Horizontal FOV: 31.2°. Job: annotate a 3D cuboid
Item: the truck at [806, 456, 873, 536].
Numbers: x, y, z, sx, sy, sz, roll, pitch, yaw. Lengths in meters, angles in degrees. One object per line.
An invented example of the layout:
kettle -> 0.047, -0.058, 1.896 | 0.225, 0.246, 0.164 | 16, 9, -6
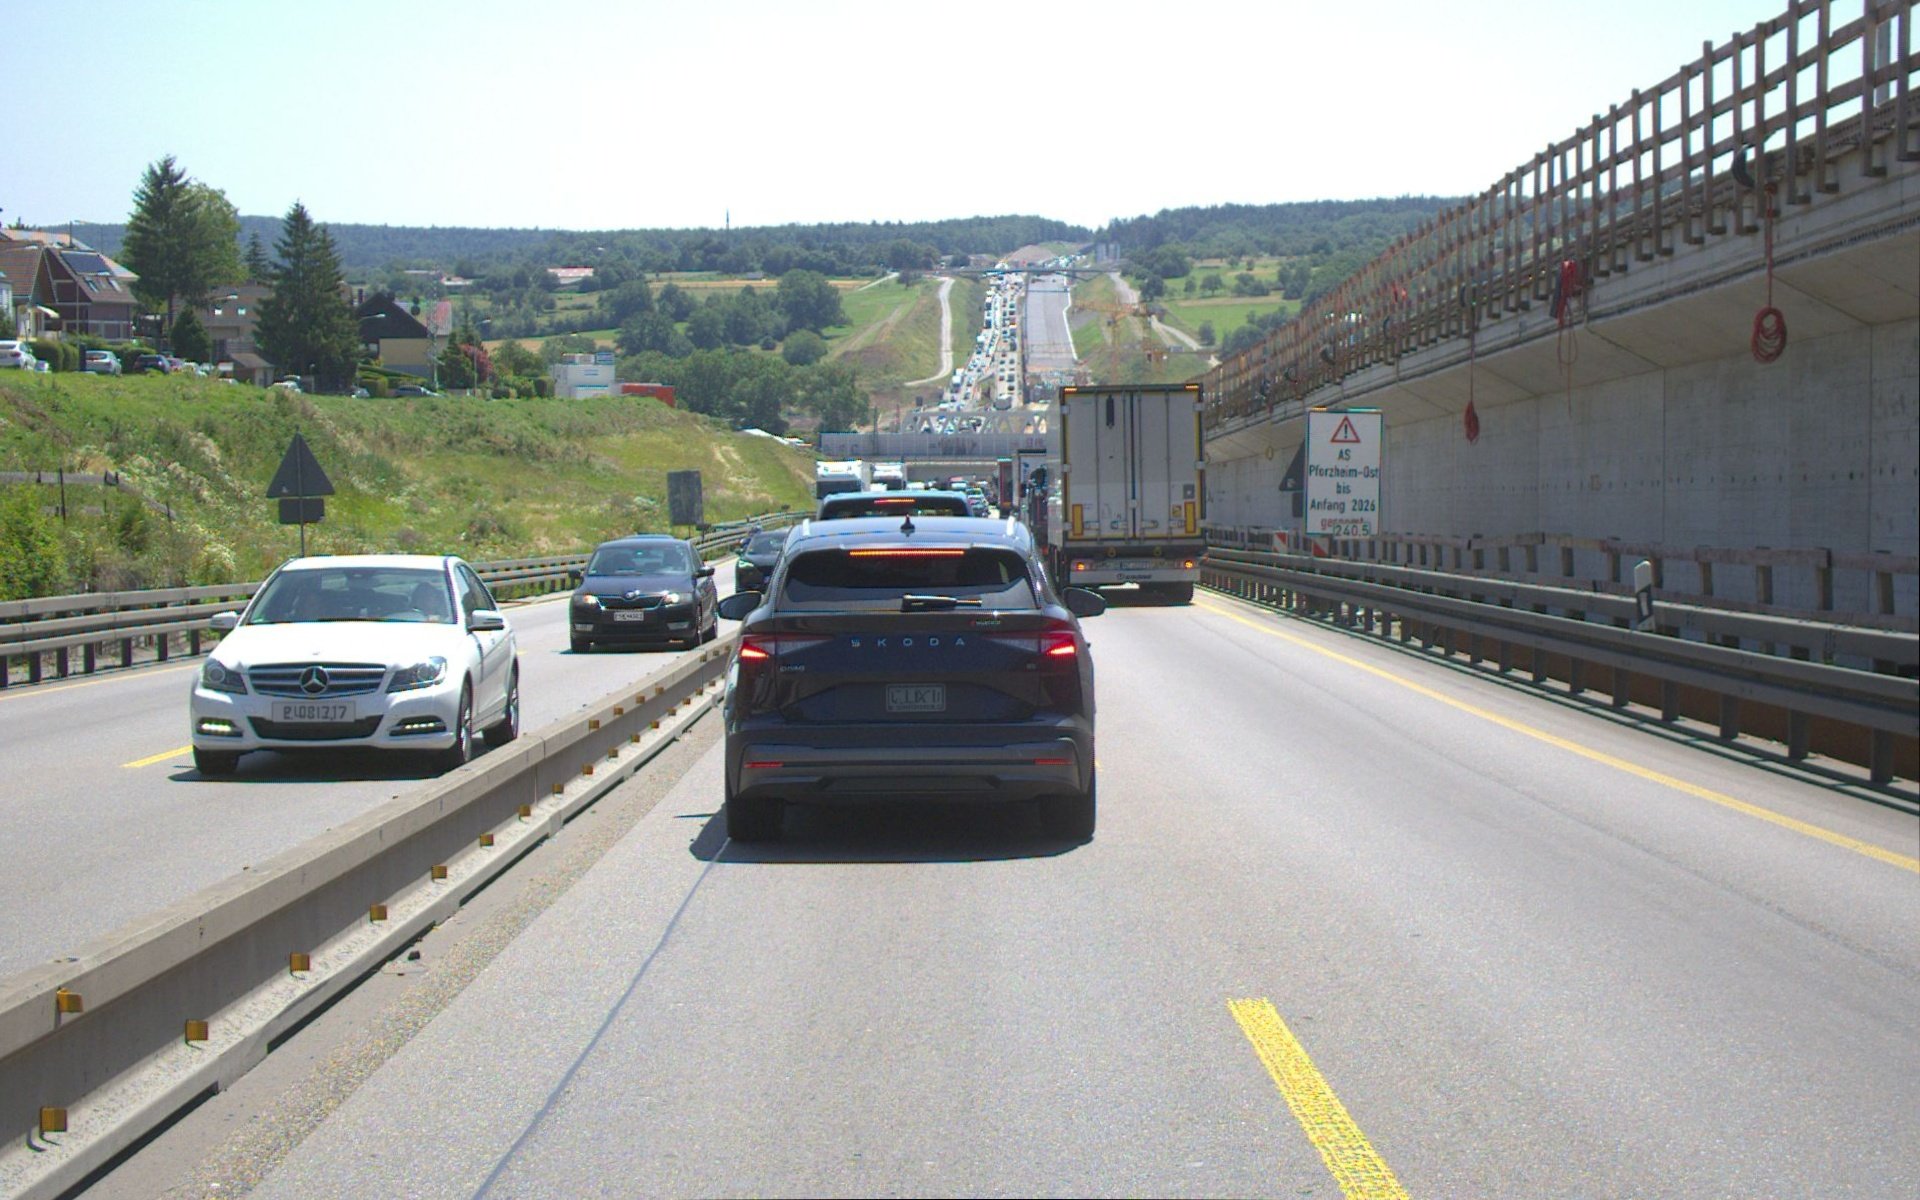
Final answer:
truck -> -6.654, -5.689, 189.530 | 3.180, 4.223, 6.486 | -1, 1, -6

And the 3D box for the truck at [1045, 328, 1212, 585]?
truck -> 3.166, -2.621, 67.373 | 2.846, 4.599, 11.811 | 0, 1, 1

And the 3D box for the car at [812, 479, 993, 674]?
car -> -0.637, -0.271, 35.950 | 1.749, 1.888, 3.756 | 2, 1, -2

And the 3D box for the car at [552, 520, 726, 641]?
car -> -4.202, -0.253, 45.664 | 1.606, 1.441, 4.669 | -3, 0, 3

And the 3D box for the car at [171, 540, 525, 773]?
car -> -4.121, 0.332, 23.764 | 1.732, 1.433, 4.259 | 1, 1, -1

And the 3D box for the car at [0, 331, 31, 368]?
car -> -40.990, -10.764, 147.211 | 1.993, 1.315, 4.001 | 3, 1, -10

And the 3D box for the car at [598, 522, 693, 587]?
car -> -7.317, -1.053, 80.402 | 1.813, 1.443, 5.007 | 1, 1, -1

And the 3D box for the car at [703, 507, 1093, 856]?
car -> -0.310, 0.341, 17.805 | 1.782, 1.592, 3.755 | -1, 1, -1

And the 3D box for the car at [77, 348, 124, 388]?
car -> -41.733, -11.250, 167.021 | 1.924, 1.722, 4.001 | -1, 1, -10

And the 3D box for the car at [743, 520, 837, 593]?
car -> -3.667, -0.942, 74.828 | 1.842, 1.525, 4.294 | -1, 1, 0
